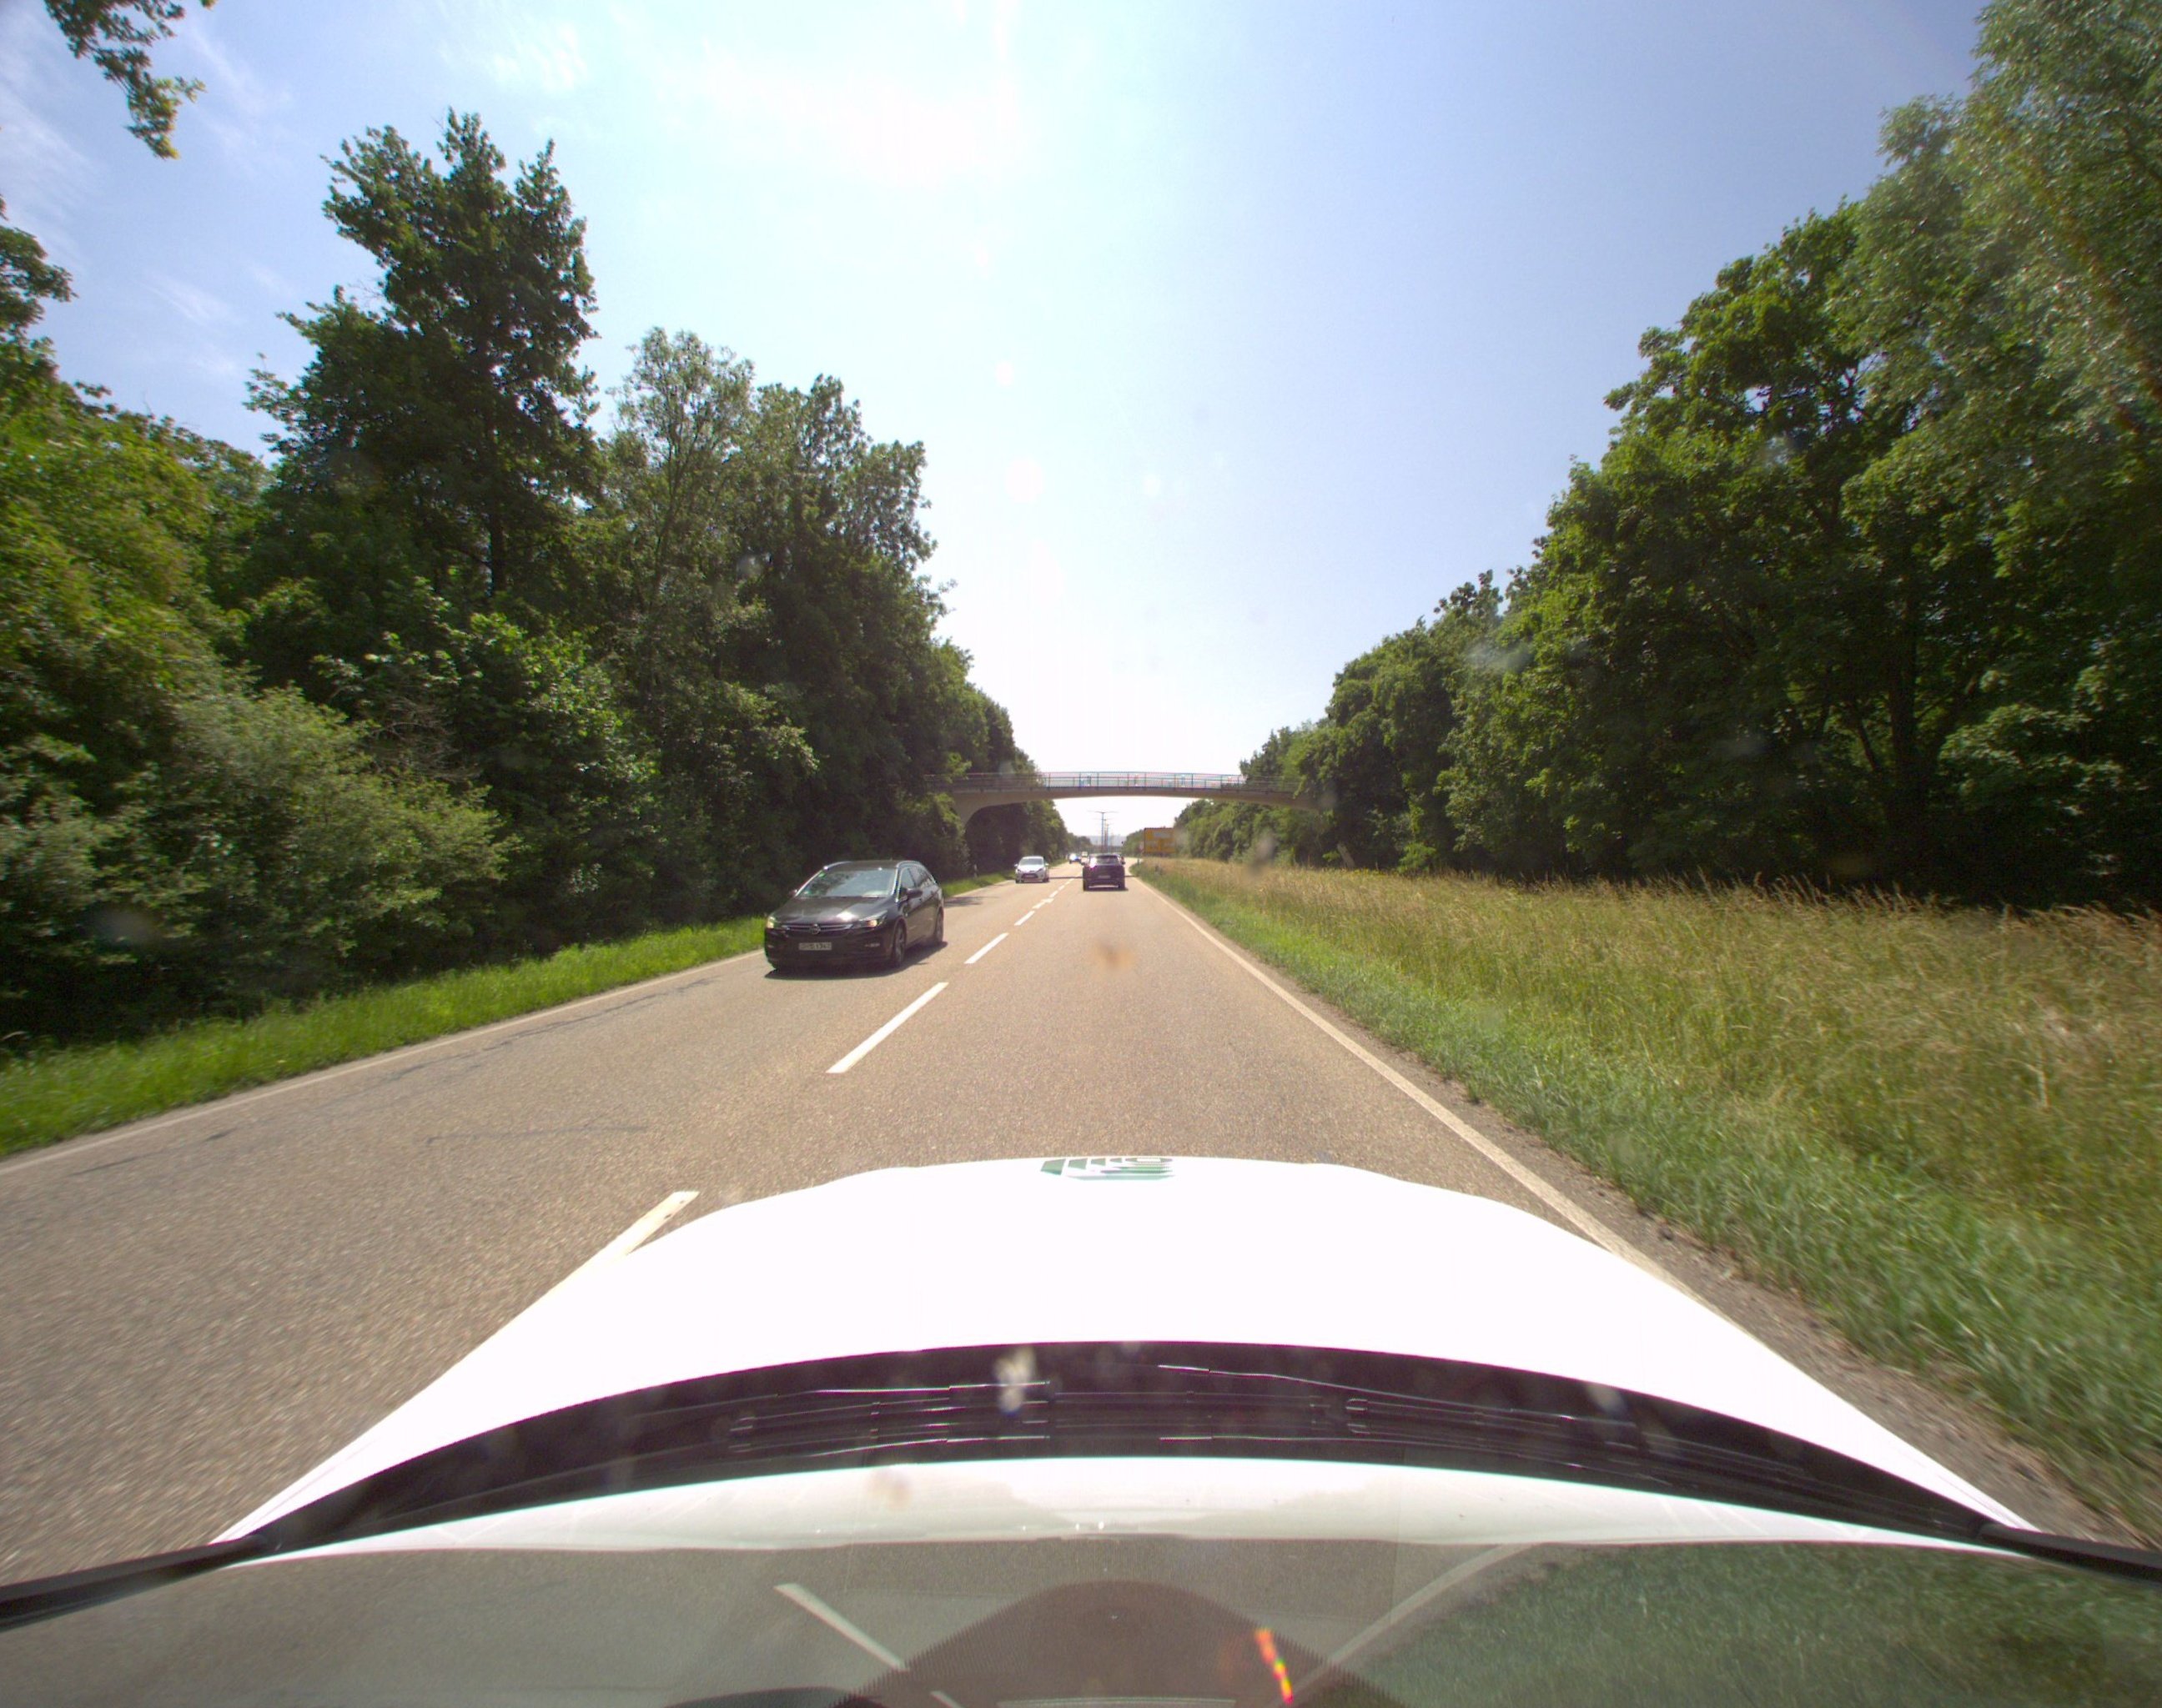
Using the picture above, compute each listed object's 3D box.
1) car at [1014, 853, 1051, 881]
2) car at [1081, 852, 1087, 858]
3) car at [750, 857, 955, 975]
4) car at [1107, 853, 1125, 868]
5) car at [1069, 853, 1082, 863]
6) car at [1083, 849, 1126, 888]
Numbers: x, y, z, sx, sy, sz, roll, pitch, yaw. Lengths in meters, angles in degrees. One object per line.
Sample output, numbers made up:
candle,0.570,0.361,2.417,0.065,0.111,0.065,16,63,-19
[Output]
car,-2.709,0.699,46.255,1.671,1.433,3.775,-2,0,3
car,0.833,0.324,240.003,1.725,1.687,4.096,-2,0,1
car,-3.265,0.803,12.550,1.776,1.449,4.113,-1,0,3
car,3.754,0.665,86.874,1.790,1.583,4.002,-1,0,2
car,-0.885,0.693,135.023,1.816,1.590,4.421,-2,0,2
car,1.059,0.588,35.137,1.748,1.556,4.002,0,0,2
